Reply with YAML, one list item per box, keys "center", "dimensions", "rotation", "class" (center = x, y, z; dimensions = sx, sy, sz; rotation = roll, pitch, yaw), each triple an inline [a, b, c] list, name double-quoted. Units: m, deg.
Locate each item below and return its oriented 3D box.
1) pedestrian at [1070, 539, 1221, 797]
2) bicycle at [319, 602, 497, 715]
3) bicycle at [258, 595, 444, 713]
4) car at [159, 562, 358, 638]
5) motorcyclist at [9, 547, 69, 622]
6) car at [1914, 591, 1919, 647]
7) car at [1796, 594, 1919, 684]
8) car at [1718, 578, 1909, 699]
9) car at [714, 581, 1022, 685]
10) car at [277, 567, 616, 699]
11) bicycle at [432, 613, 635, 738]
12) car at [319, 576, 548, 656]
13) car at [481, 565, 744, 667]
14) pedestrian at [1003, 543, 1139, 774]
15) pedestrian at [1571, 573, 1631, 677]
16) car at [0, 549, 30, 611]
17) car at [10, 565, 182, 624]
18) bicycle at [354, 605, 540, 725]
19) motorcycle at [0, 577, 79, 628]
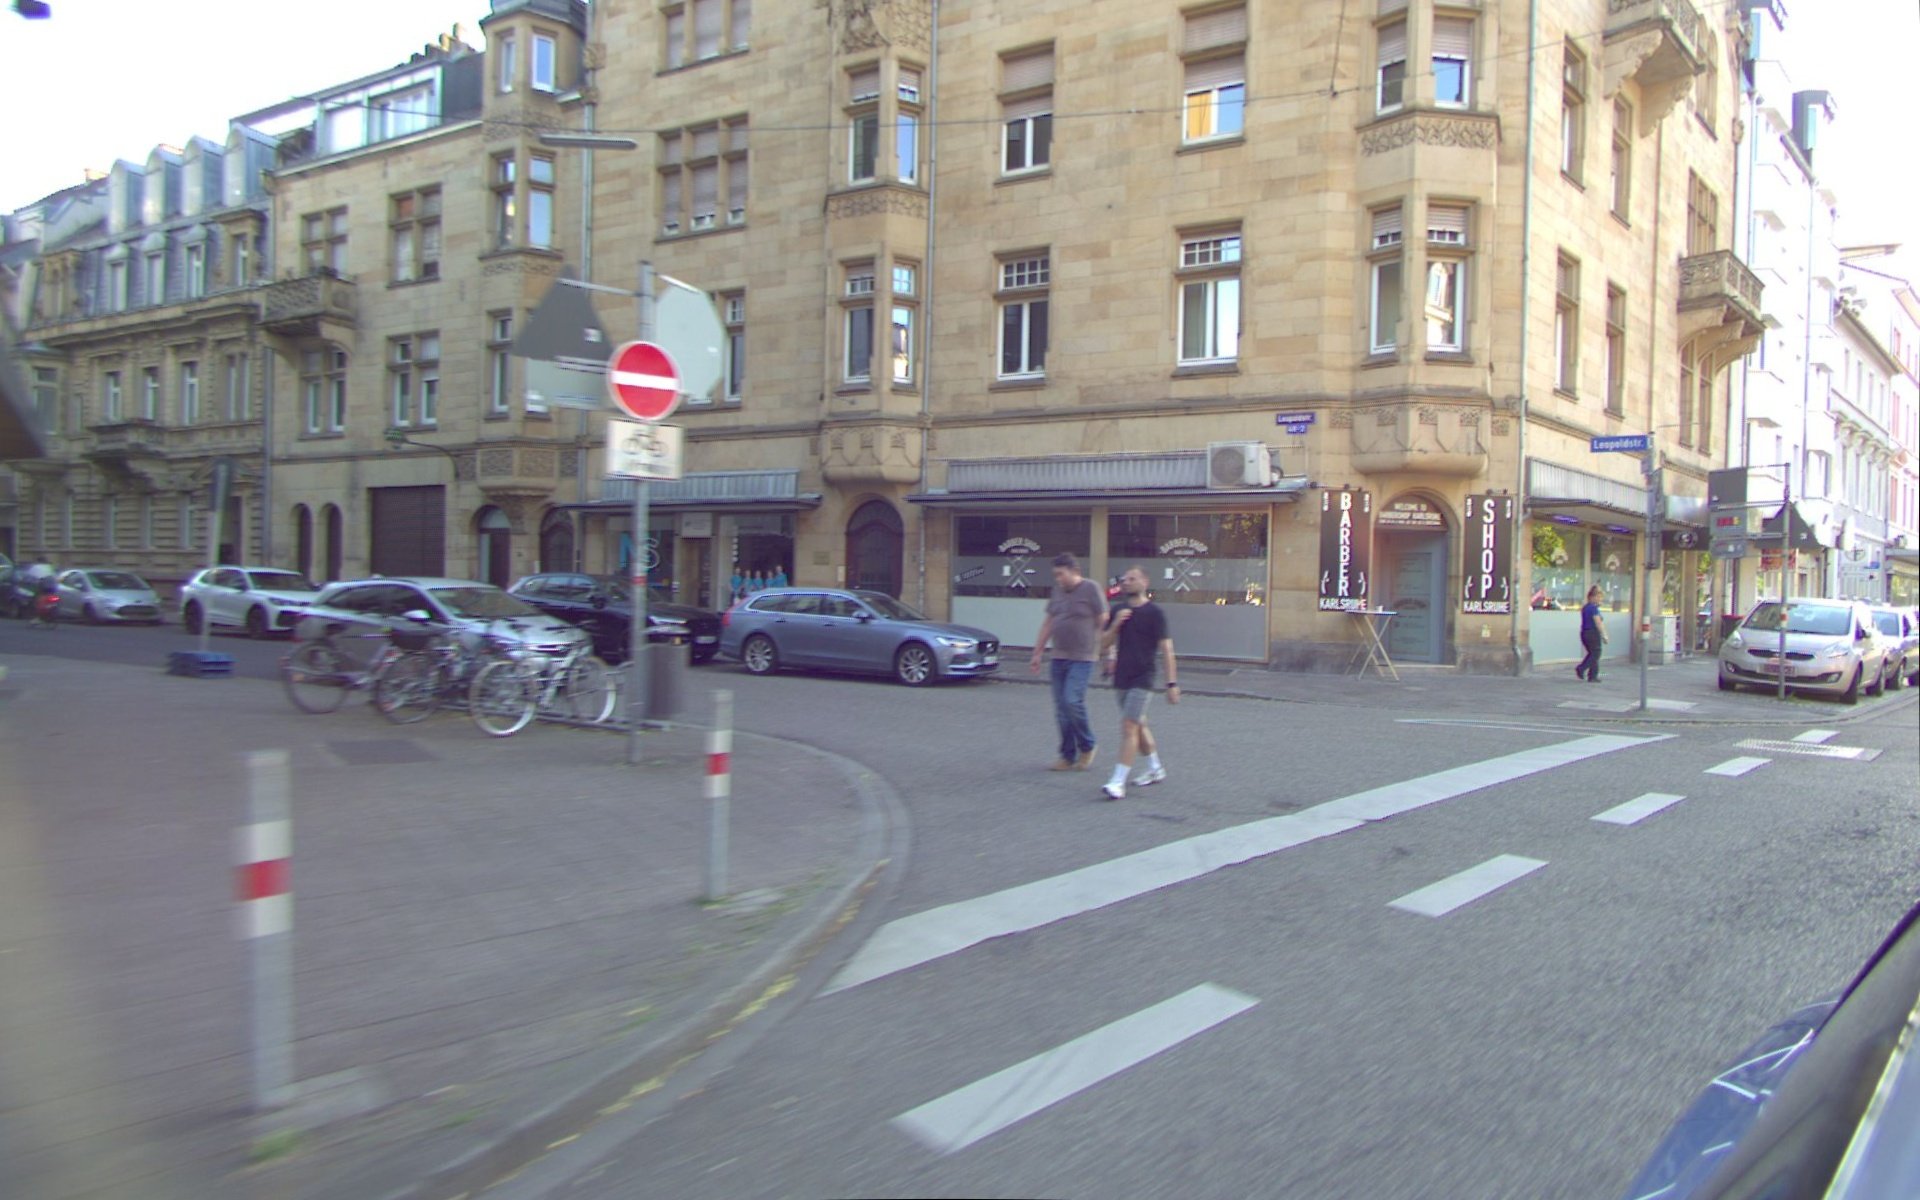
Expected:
- center: [1.375, 0.461, 7.517]
  dimensions: [0.798, 1.780, 0.756]
  rotation: [1, 0, -41]
  class: "pedestrian"
- center: [-5.740, 0.587, 10.643]
  dimensions: [0.575, 1.073, 1.675]
  rotation: [1, -1, 18]
  class: "bicycle"
- center: [-6.347, 0.539, 10.655]
  dimensions: [0.575, 1.119, 1.675]
  rotation: [1, -1, 19]
  class: "bicycle"
- center: [-16.840, -0.040, 24.263]
  dimensions: [4.721, 1.669, 1.961]
  rotation: [1, 0, 27]
  class: "car"
- center: [-21.808, -0.366, 23.967]
  dimensions: [1.088, 1.743, 0.710]
  rotation: [1, 0, 27]
  class: "motorcyclist"
- center: [30.973, 0.641, 31.229]
  dimensions: [3.727, 1.668, 1.759]
  rotation: [0, 4, -41]
  class: "car"
- center: [17.887, 0.708, 19.745]
  dimensions: [3.520, 1.476, 1.582]
  rotation: [1, 4, -37]
  class: "car"
- center: [14.197, 0.564, 16.774]
  dimensions: [3.727, 1.668, 1.759]
  rotation: [0, 4, -41]
  class: "car"
- center: [-1.533, 0.458, 16.562]
  dimensions: [4.720, 1.436, 1.961]
  rotation: [1, 0, 27]
  class: "car"
- center: [-6.973, 0.355, 13.673]
  dimensions: [4.499, 1.505, 1.778]
  rotation: [1, 0, 27]
  class: "car"
- center: [-3.953, 0.666, 9.555]
  dimensions: [0.576, 1.046, 1.839]
  rotation: [1, -1, 24]
  class: "bicycle"
- center: [-11.186, 0.277, 21.445]
  dimensions: [4.721, 1.481, 1.961]
  rotation: [1, 0, 27]
  class: "car"
- center: [-6.533, 0.232, 18.948]
  dimensions: [4.721, 1.669, 1.961]
  rotation: [1, 0, 27]
  class: "car"
- center: [0.912, 0.441, 8.340]
  dimensions: [0.798, 1.780, 0.756]
  rotation: [1, 0, -41]
  class: "pedestrian"
- center: [10.672, 0.396, 16.857]
  dimensions: [0.591, 1.682, 0.600]
  rotation: [0, 2, -32]
  class: "pedestrian"
- center: [-31.065, -0.655, 31.263]
  dimensions: [4.721, 1.857, 1.961]
  rotation: [1, 0, 27]
  class: "car"
- center: [-23.741, -0.184, 27.793]
  dimensions: [4.721, 1.481, 1.961]
  rotation: [1, 0, 27]
  class: "car"
- center: [-5.049, 0.616, 10.087]
  dimensions: [0.576, 1.073, 1.673]
  rotation: [1, -1, 21]
  class: "bicycle"
- center: [-21.891, 0.049, 24.004]
  dimensions: [2.228, 1.155, 0.710]
  rotation: [1, 0, 27]
  class: "motorcycle"
